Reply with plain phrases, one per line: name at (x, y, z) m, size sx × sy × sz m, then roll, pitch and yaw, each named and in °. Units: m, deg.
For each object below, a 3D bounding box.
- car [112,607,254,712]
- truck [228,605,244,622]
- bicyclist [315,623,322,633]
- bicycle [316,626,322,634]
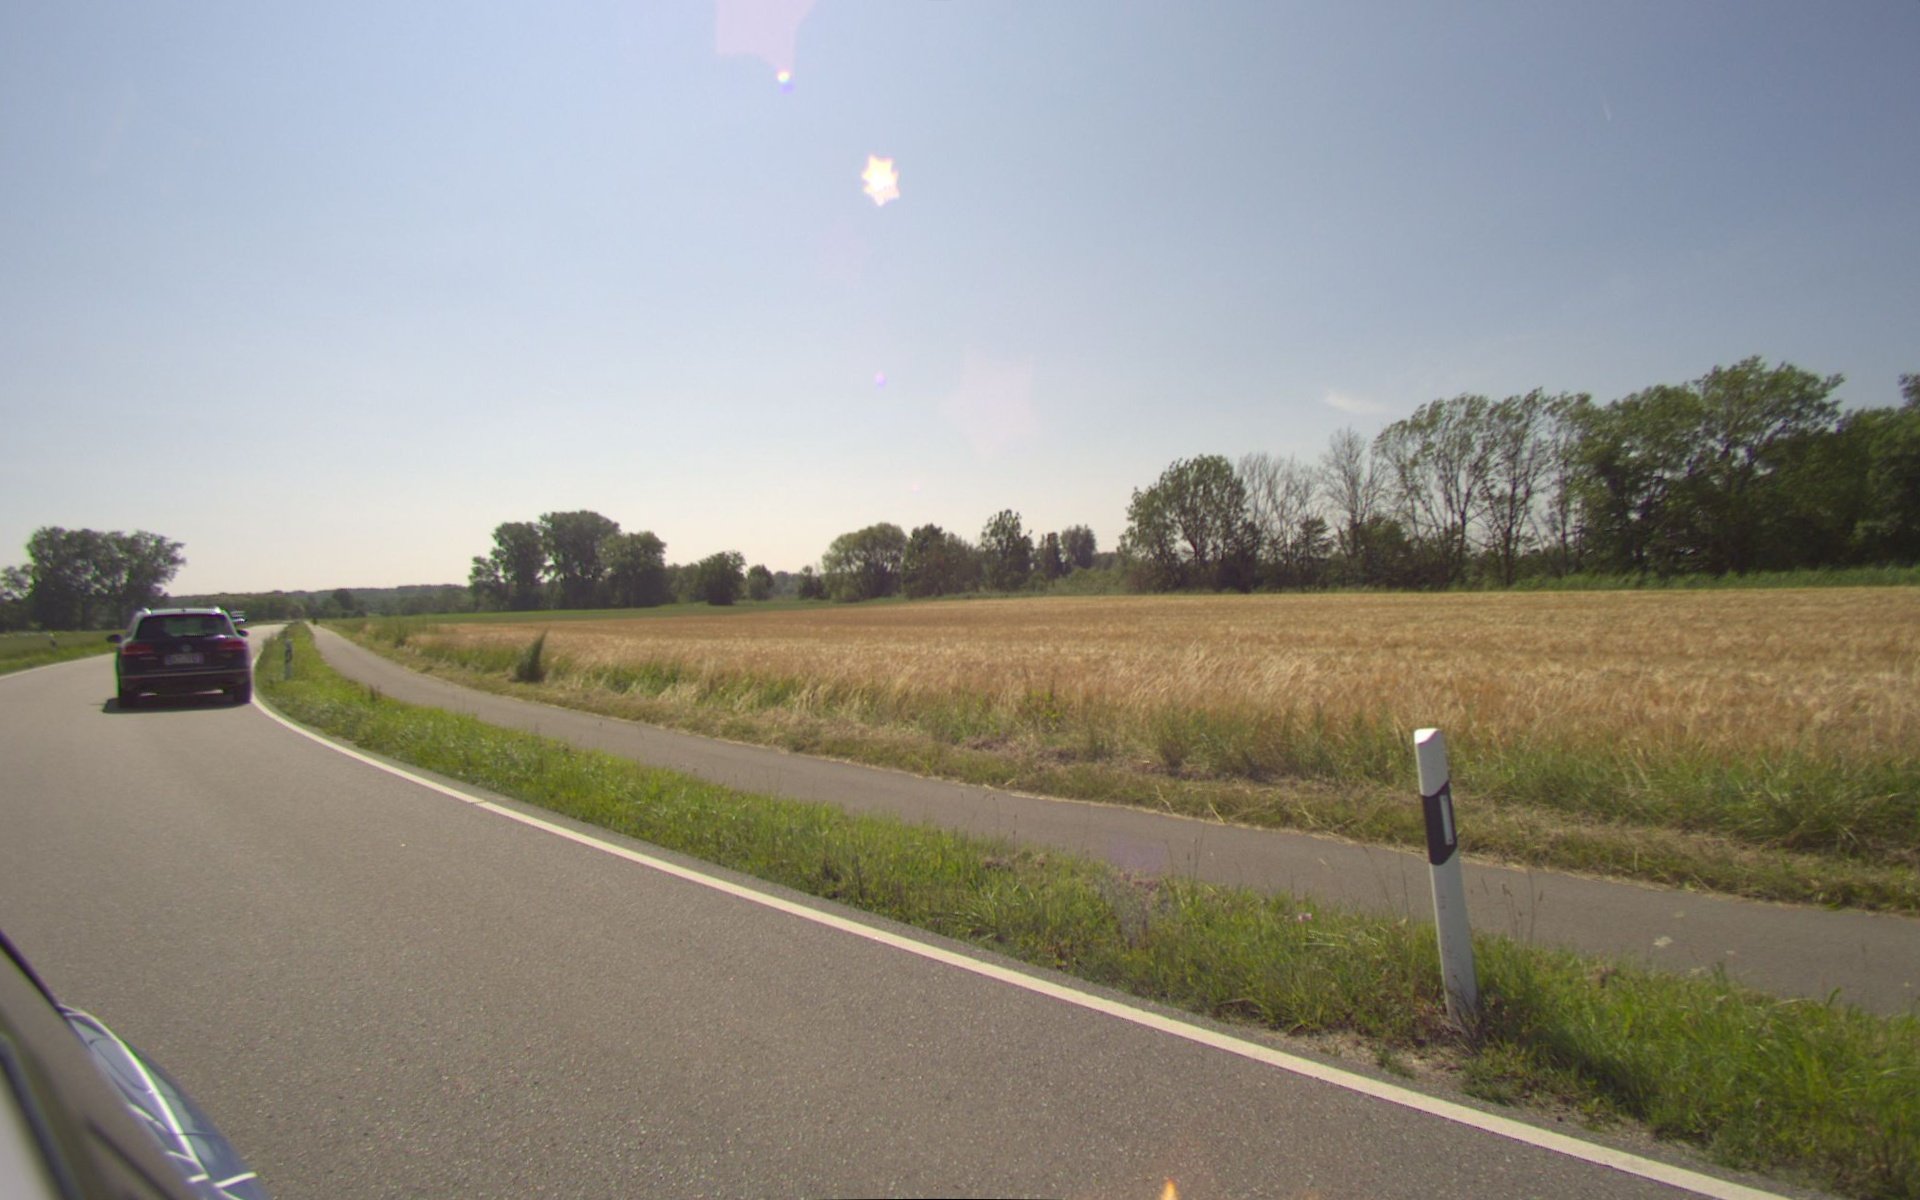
car at (-14.445, 1.040, 18.740) m, size 1.863 × 1.728 × 4.020 m, roll 1°, pitch -2°, yaw -40°
truck at (-134.649, 2.523, 188.221) m, size 1.966 × 2.859 × 5.232 m, roll -2°, pitch 0°, yaw -33°
bicyclist at (-97.138, 4.262, 153.255) m, size 0.731 × 1.507 × 1.006 m, roll -2°, pitch 0°, yaw -33°
bicycle at (-97.117, 4.554, 153.258) m, size 0.731 × 1.180 × 2.088 m, roll -2°, pitch 0°, yaw -33°
